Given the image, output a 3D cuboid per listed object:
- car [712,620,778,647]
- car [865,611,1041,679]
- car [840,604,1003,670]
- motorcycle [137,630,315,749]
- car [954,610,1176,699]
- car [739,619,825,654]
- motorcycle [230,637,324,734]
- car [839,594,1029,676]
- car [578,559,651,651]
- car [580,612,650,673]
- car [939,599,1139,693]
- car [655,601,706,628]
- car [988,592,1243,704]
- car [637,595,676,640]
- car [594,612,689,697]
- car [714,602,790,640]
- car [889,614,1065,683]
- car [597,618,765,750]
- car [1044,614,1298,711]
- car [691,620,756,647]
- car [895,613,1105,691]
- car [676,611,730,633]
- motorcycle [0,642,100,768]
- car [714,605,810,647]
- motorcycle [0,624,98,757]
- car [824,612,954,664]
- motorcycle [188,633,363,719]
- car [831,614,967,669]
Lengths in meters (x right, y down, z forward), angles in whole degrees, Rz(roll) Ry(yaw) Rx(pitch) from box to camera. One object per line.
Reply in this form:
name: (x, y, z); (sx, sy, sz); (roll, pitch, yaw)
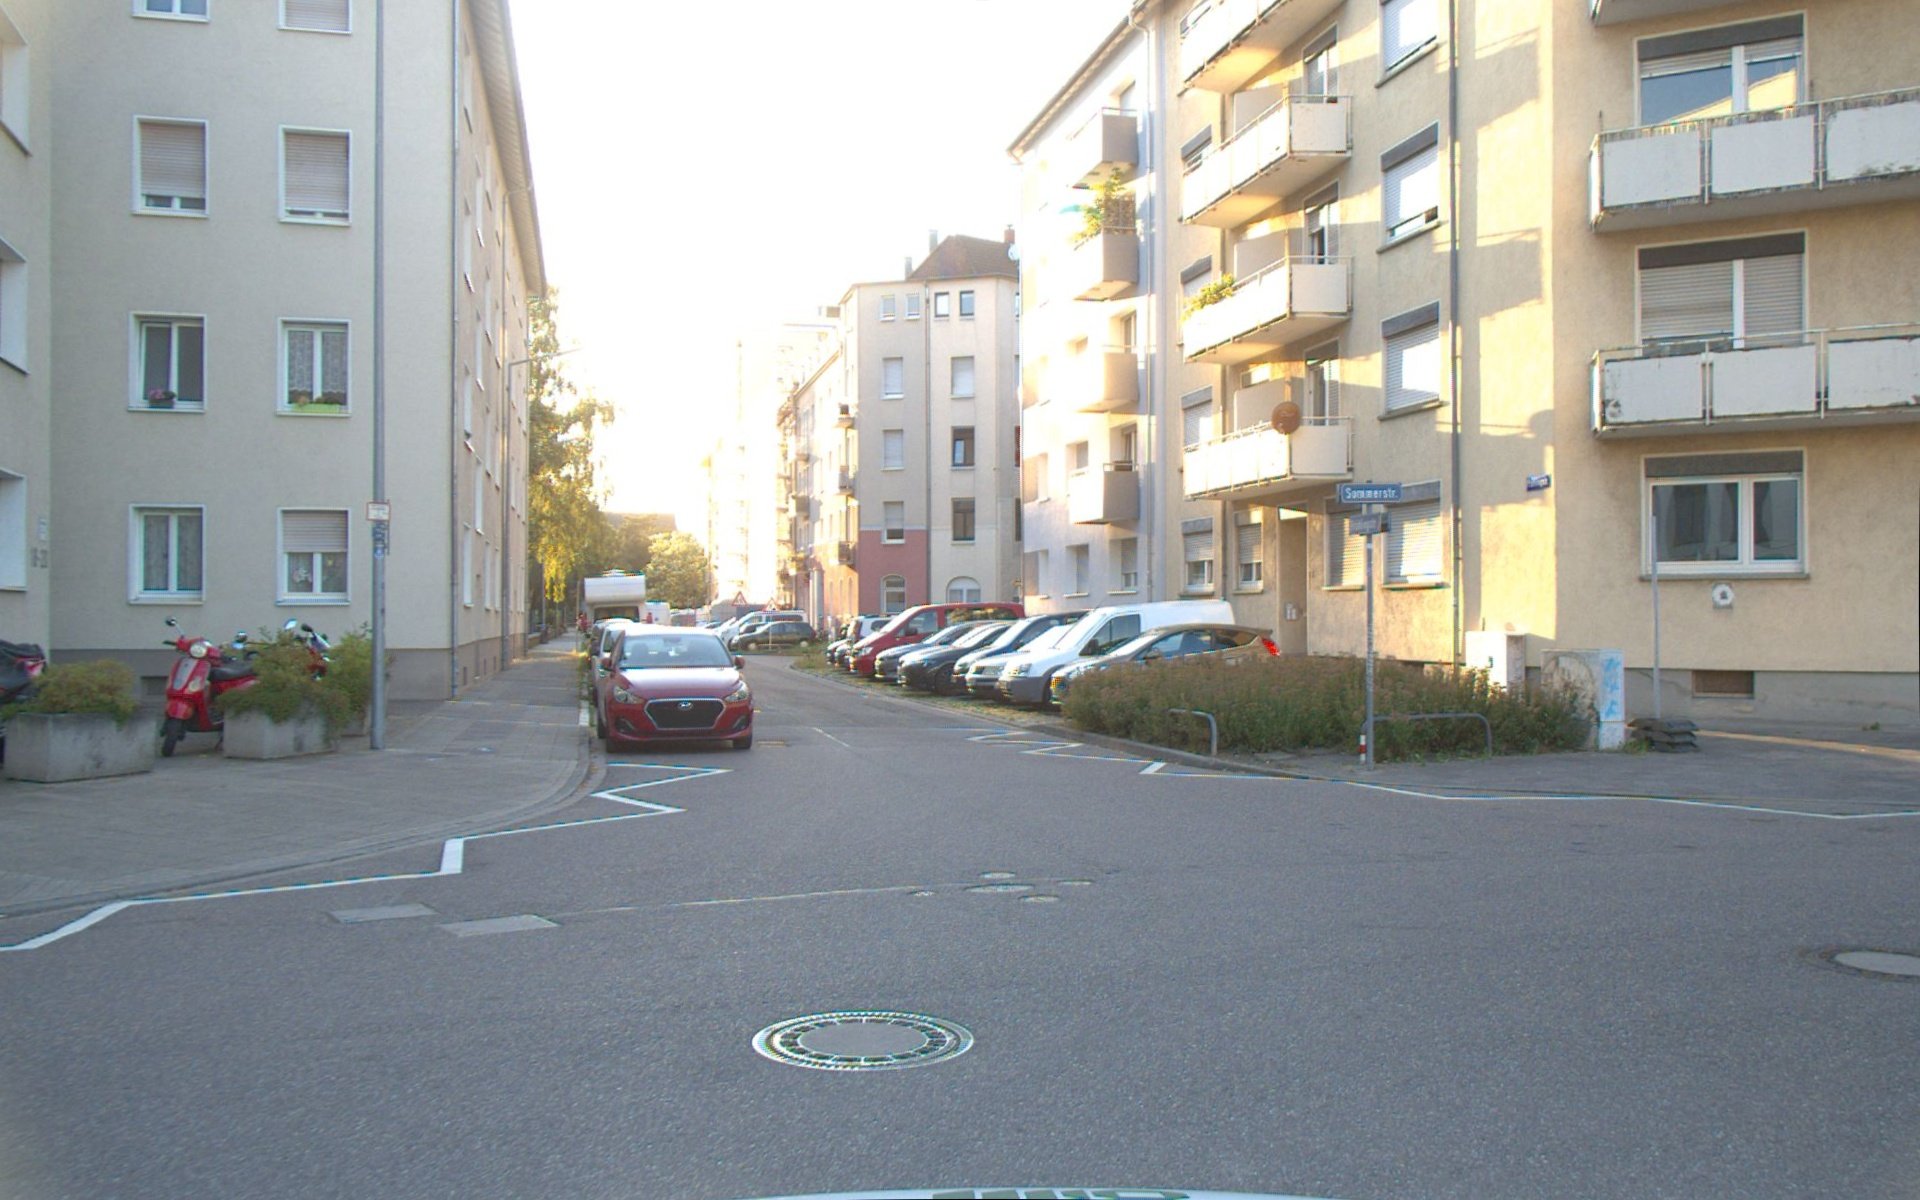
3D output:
car: (-13.327, 2.050, 102.529); (3.919, 1.557, 1.653); (-2, -1, -14)
car: (-0.183, 1.098, 41.006); (4.075, 1.497, 1.630); (-2, -1, -14)
car: (-1.111, 1.030, 46.332); (4.251, 1.666, 1.811); (-2, -1, -14)
motorcycle: (-7.800, 0.919, 17.687); (0.674, 1.181, 2.035); (0, -1, 11)
car: (1.961, 1.010, 31.357); (3.887, 1.549, 1.700); (-1, -1, -13)
car: (-8.507, 1.721, 78.934); (3.919, 1.557, 1.653); (-2, -1, -14)
motorcycle: (-8.227, 1.001, 19.997); (0.670, 1.098, 2.028); (0, -1, -11)
car: (-0.709, 0.904, 43.523); (4.642, 1.943, 2.052); (-2, -1, -14)
car: (-13.626, 0.245, 65.188); (2.574, 3.326, 7.672); (-2, -1, -12)
car: (-9.062, 1.092, 43.302); (1.625, 1.460, 3.781); (-2, -1, -14)
car: (1.591, 0.916, 33.757); (3.725, 1.725, 1.649); (-2, -1, -13)
car: (-26.968, 1.355, 159.531); (4.731, 2.450, 1.732); (-1, -1, -14)
car: (2.745, 0.840, 29.465); (4.205, 1.893, 1.735); (0, -2, -13)
car: (-19.626, 1.128, 106.833); (2.093, 2.765, 4.814); (-2, -1, -14)
car: (-6.258, 1.036, 32.240); (1.589, 1.499, 3.491); (-2, -1, -14)
car: (-11.503, 1.141, 91.527); (3.923, 2.049, 1.991); (0, -1, -17)
car: (0.385, 1.118, 38.639); (3.811, 1.441, 1.630); (-2, -1, -15)
car: (-3.653, 0.996, 21.122); (1.814, 1.499, 4.062); (0, -1, -14)
car: (3.454, 1.003, 27.324); (3.805, 1.518, 1.736); (0, -1, -13)
car: (-14.982, 2.107, 104.661); (3.919, 1.557, 1.653); (-2, -1, -14)
car: (0.836, 1.109, 35.722); (4.234, 1.475, 1.649); (-2, -1, -13)
car: (-19.709, 1.701, 126.825); (3.919, 1.557, 1.653); (-2, -1, -14)
motorcycle: (-8.775, 0.939, 14.933); (0.708, 1.098, 2.082); (0, -1, 8)
car: (-10.263, 1.319, 85.607); (4.731, 2.002, 1.732); (-2, -1, -14)
motorcycle: (-9.725, 0.894, 16.988); (0.709, 1.287, 2.080); (0, -1, -2)
car: (-2.211, 1.175, 51.178); (3.747, 1.453, 1.628); (-2, -1, -14)
motorcycle: (-9.103, 1.007, 22.037); (2.080, 1.125, 0.560); (0, -1, -2)
car: (-1.810, 1.213, 48.692); (3.747, 1.453, 1.628); (-2, -1, -14)
